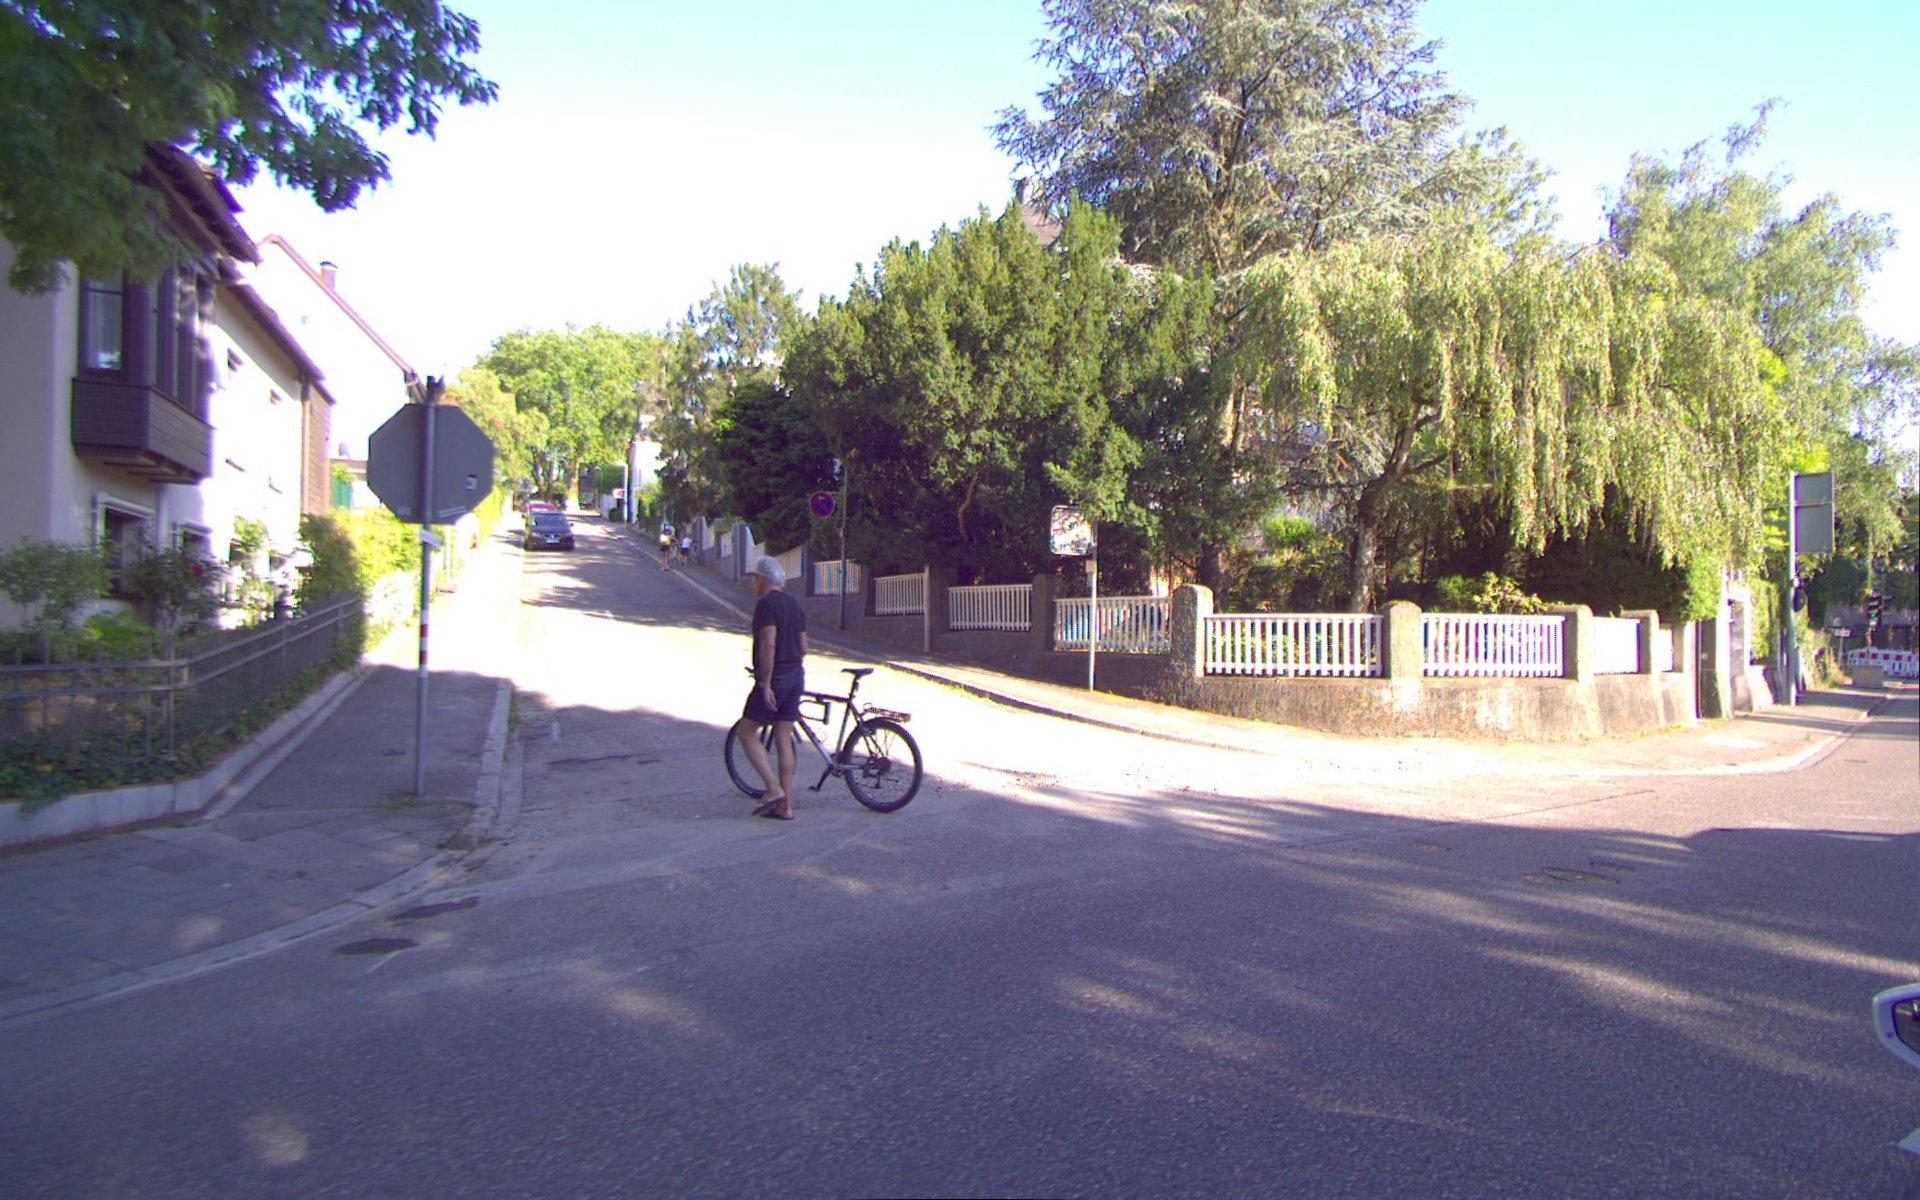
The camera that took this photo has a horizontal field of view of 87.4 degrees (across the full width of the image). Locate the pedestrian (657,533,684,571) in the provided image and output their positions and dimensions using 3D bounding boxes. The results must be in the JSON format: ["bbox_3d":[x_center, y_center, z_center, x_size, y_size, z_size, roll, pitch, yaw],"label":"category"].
[{"bbox_3d":[-10.993,-1.828,38.166,0.562,1.389,0.768,2,0,44],"label":"pedestrian"}]

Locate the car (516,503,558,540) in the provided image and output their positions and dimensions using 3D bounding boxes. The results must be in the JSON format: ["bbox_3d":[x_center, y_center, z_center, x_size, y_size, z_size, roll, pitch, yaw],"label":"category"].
[{"bbox_3d":[-23.847,-4.386,56.553,1.973,1.728,3.974,2,0,-25],"label":"car"}]

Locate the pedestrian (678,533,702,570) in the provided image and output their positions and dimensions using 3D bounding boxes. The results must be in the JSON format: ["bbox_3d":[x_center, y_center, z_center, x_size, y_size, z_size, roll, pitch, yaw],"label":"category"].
[{"bbox_3d":[-10.709,-1.911,39.834,0.763,1.389,0.566,2,0,-28],"label":"pedestrian"}]

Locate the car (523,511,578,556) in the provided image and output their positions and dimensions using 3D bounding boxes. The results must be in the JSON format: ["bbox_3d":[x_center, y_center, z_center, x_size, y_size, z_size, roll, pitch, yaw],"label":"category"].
[{"bbox_3d":[-18.279,-2.904,44.754,1.974,1.728,3.973,2,0,-26],"label":"car"}]

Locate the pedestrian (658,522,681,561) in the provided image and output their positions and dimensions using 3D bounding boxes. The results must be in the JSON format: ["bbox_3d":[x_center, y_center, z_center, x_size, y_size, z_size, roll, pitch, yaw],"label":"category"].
[{"bbox_3d":[-12.797,-2.571,44.239,0.766,1.664,0.688,2,1,-28],"label":"pedestrian"}]

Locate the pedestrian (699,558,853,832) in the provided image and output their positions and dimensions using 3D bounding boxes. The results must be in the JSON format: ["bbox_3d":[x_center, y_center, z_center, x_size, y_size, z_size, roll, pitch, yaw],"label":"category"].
[{"bbox_3d":[-1.321,0.630,7.228,0.925,1.851,0.554,2,2,25],"label":"pedestrian"}]

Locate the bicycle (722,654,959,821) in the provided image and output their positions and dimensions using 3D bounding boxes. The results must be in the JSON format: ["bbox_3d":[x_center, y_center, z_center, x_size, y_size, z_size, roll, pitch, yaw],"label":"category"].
[{"bbox_3d":[-0.933,1.001,7.691,1.784,1.057,0.561,2,2,27],"label":"bicycle"}]
